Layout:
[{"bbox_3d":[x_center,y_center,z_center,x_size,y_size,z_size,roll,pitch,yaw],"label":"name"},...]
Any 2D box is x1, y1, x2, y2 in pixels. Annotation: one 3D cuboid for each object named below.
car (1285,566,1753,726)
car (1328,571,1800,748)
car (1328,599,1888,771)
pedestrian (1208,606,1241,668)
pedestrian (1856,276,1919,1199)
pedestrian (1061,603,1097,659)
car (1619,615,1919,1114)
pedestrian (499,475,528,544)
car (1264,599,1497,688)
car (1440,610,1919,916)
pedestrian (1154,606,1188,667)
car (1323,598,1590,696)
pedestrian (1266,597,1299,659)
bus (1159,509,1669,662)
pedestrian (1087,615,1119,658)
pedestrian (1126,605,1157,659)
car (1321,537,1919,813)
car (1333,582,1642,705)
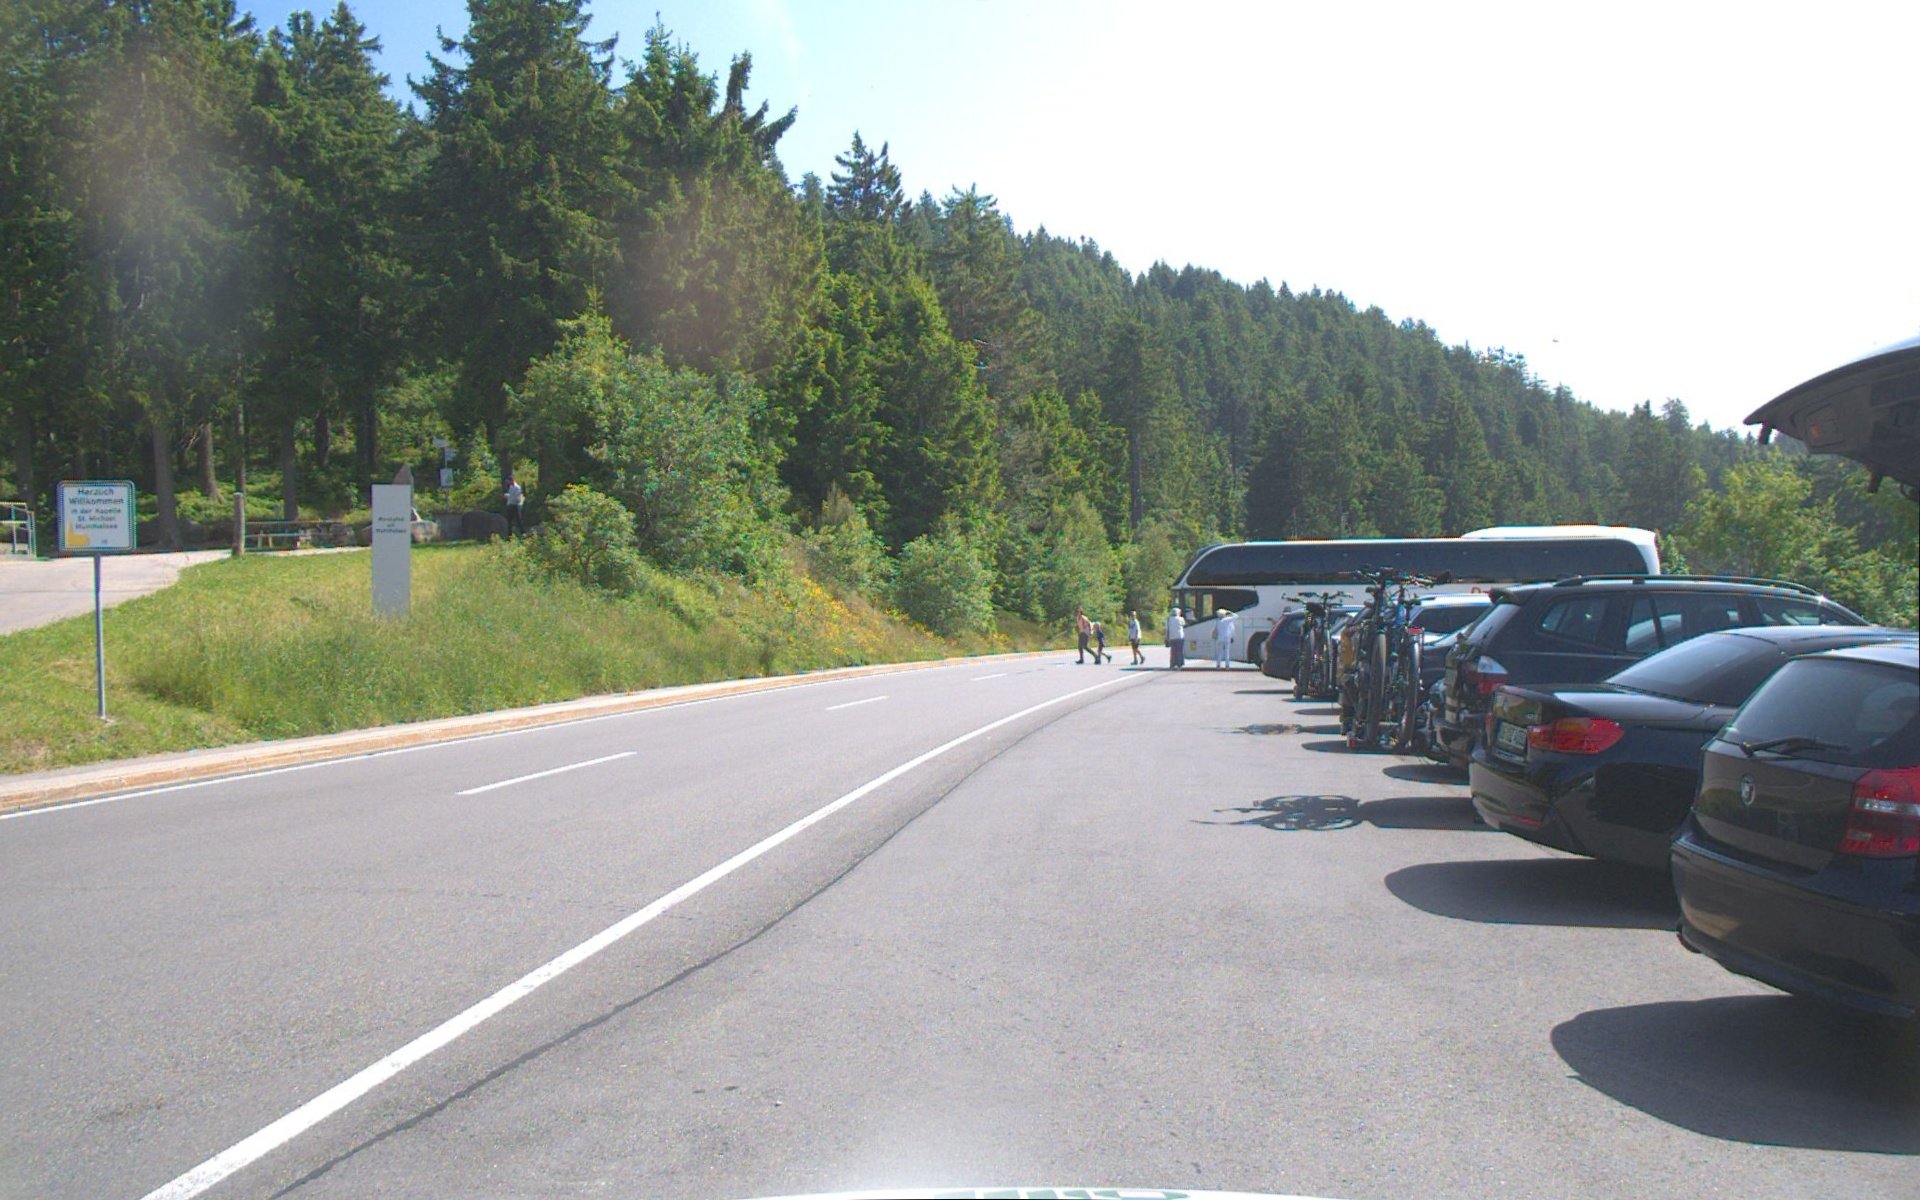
[{"bbox_3d":[6.437,0.535,19.619,4.926,1.680,2.049,-2,-1,8],"label":"car"},{"bbox_3d":[5.929,0.584,16.706,4.153,1.581,1.839,-2,-1,8],"label":"car"},{"bbox_3d":[5.373,0.704,14.244,4.153,1.291,1.839,-2,0,8],"label":"car"},{"bbox_3d":[7.055,0.973,44.149,0.754,1.613,0.773,-2,-1,15],"label":"pedestrian"},{"bbox_3d":[1.845,0.489,2.437,0.752,1.903,0.725,-2,3,-44],"label":"pedestrian"},{"bbox_3d":[3.727,0.977,51.719,0.840,1.713,0.865,-1,-1,-18],"label":"pedestrian"},{"bbox_3d":[4.560,0.794,5.574,3.998,1.400,1.702,1,0,-1],"label":"car"},{"bbox_3d":[-12.659,-2.561,46.900,0.672,1.910,0.537,-2,-1,-25],"label":"pedestrian"},{"bbox_3d":[7.577,0.781,30.122,3.902,1.474,1.862,-2,-1,8],"label":"car"},{"bbox_3d":[4.736,0.791,8.604,3.996,1.400,1.703,1,0,2],"label":"car"},{"bbox_3d":[5.696,0.972,44.585,0.754,1.613,0.773,-2,-1,15],"label":"pedestrian"},{"bbox_3d":[7.929,0.747,26.730,3.902,1.423,1.621,-2,-1,8],"label":"car"},{"bbox_3d":[8.616,0.748,44.142,0.753,1.613,0.773,-2,-1,16],"label":"pedestrian"},{"bbox_3d":[12.080,-0.286,44.852,12.819,3.594,3.045,-2,-1,19],"label":"bus"},{"bbox_3d":[4.407,1.112,51.033,0.723,1.302,0.779,-1,-1,-19],"label":"pedestrian"},{"bbox_3d":[5.544,0.968,50.595,0.836,1.613,0.818,-2,-1,2],"label":"pedestrian"},{"bbox_3d":[5.044,0.494,11.528,4.843,1.725,1.947,-1,0,10],"label":"car"},{"bbox_3d":[7.358,0.611,23.398,3.902,1.581,1.661,-2,-1,8],"label":"car"}]
